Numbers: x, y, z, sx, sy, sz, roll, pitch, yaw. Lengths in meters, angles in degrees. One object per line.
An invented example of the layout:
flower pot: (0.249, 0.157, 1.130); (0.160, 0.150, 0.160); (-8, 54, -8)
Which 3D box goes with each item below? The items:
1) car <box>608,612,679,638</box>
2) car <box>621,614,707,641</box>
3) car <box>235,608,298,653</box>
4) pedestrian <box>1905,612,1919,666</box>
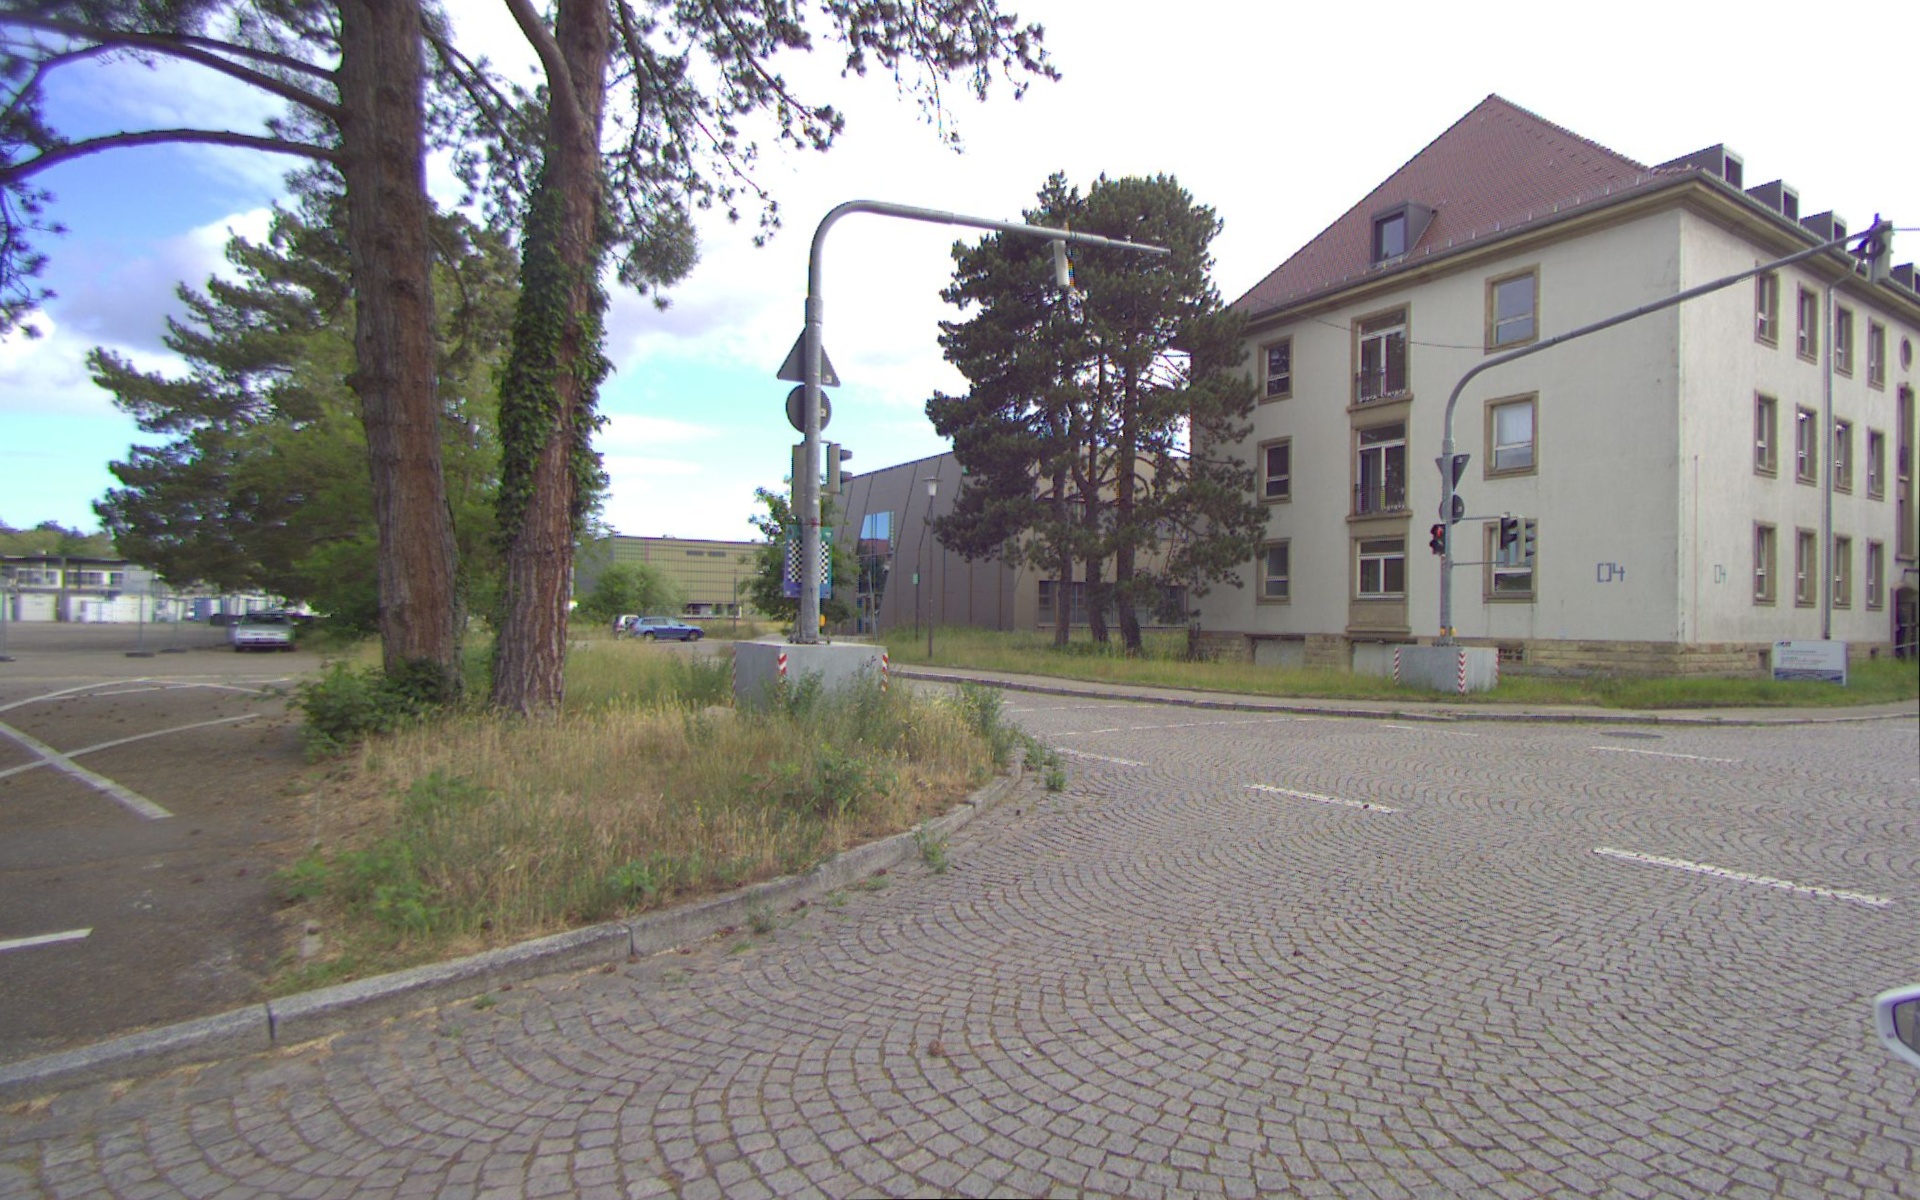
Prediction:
car: (-20.527, 1.576, 65.122); (4.079, 1.593, 1.748); (-1, 0, -35)
car: (-17.217, 1.576, 58.463); (4.450, 1.482, 1.916); (-1, 0, -35)
car: (-24.824, 1.058, 36.057); (1.717, 1.451, 4.123); (2, 0, -33)
pedestrian: (32.316, 1.303, 33.556); (0.929, 1.805, 0.834); (1, -1, -27)
